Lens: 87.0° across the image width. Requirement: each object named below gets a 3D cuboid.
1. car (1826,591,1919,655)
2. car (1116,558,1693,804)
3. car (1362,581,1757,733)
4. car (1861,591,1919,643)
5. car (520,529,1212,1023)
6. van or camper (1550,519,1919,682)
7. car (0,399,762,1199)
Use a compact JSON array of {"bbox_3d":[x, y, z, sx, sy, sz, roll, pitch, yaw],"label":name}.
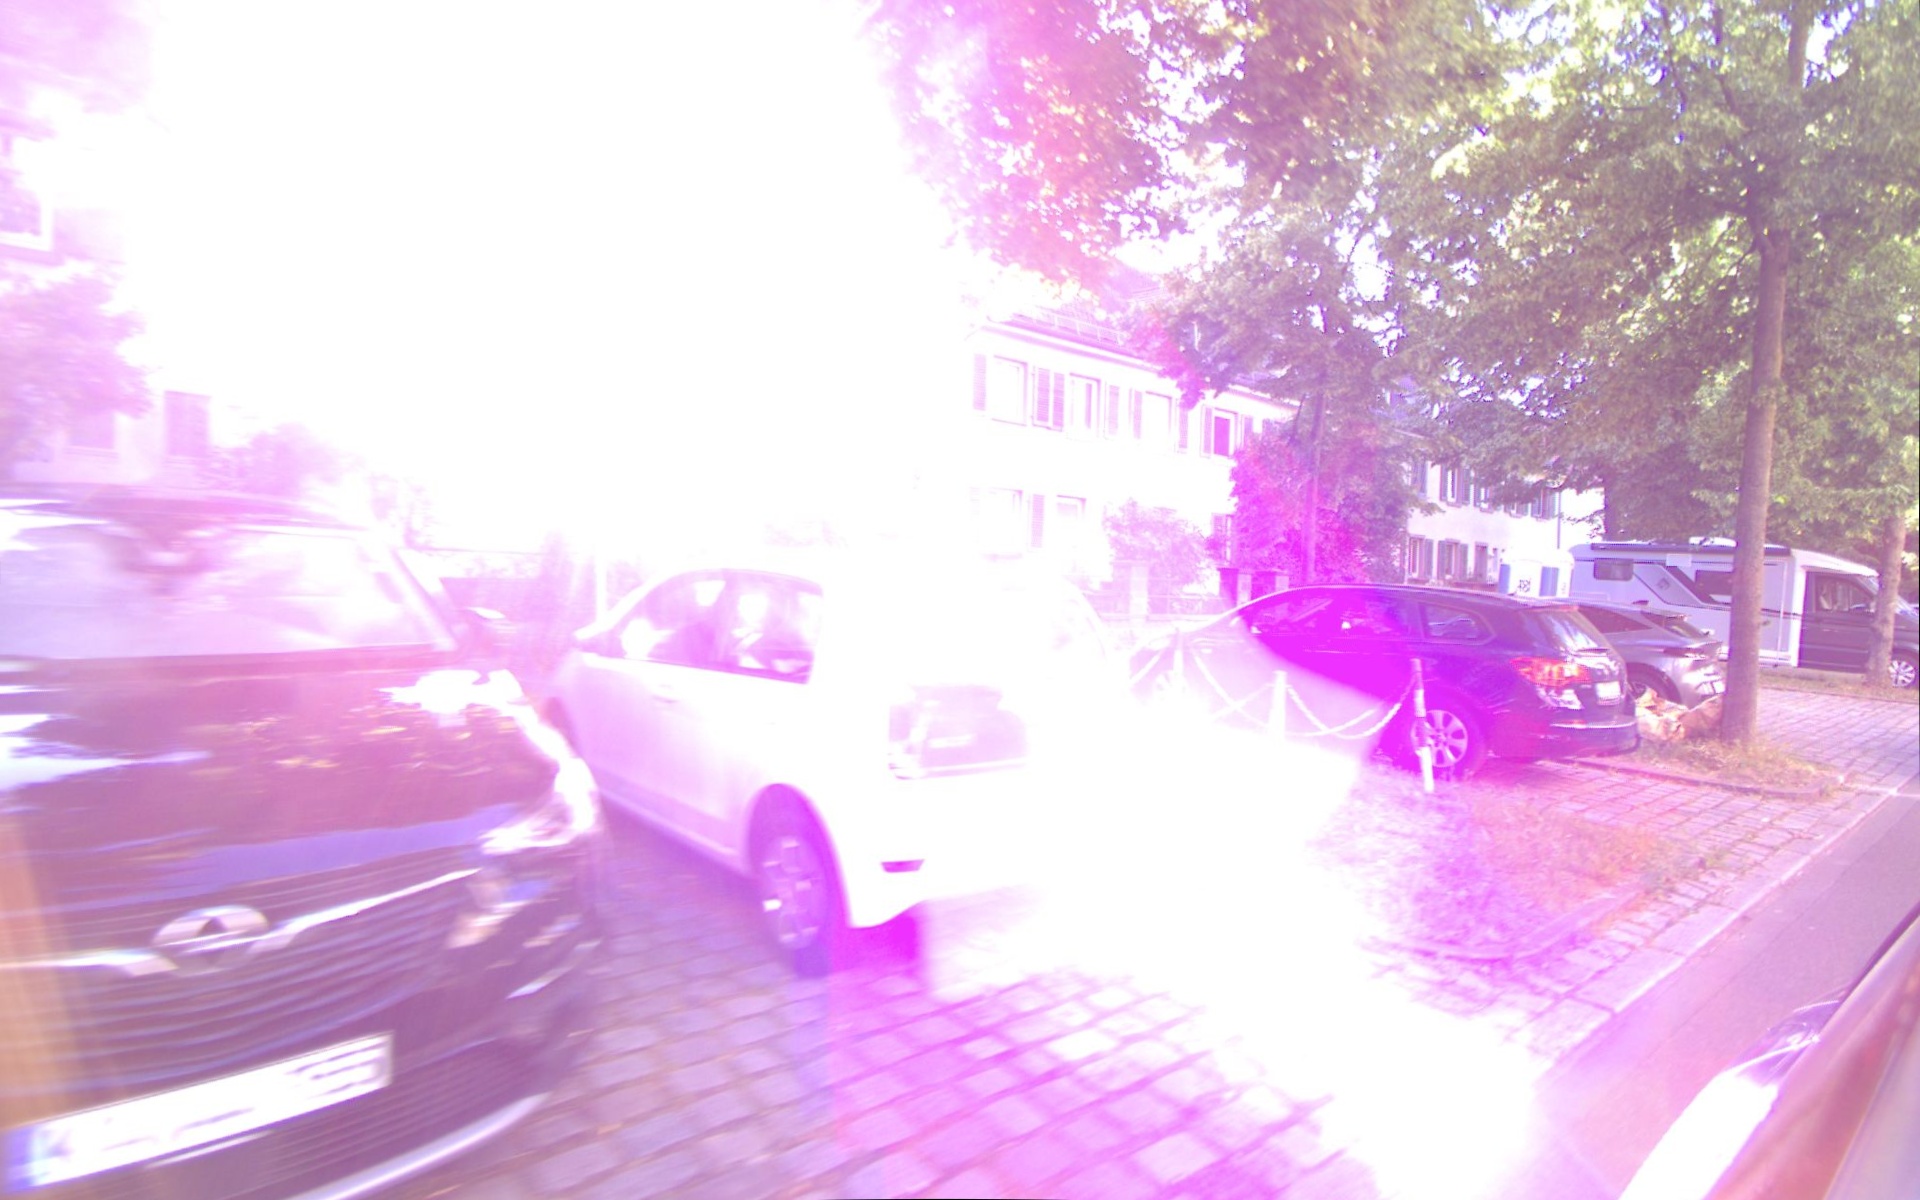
[{"bbox_3d":[29.387,0.722,31.059,1.964,1.837,3.996,1,2,-40],"label":"car"},{"bbox_3d":[3.703,0.492,9.222,1.721,1.495,4.471,1,4,-39],"label":"car"},{"bbox_3d":[7.595,0.576,13.073,1.967,1.537,3.992,-1,3,-43],"label":"car"},{"bbox_3d":[37.088,0.684,38.340,1.960,1.905,4.004,1,2,-31],"label":"car"},{"bbox_3d":[-0.734,0.453,4.954,1.664,1.493,3.456,1,3,-40],"label":"car"},{"bbox_3d":[16.631,-0.110,20.894,2.385,2.939,7.264,-1,3,-40],"label":"van or camper"},{"bbox_3d":[-2.595,0.387,3.272,1.895,1.627,4.342,0,4,-41],"label":"car"}]
